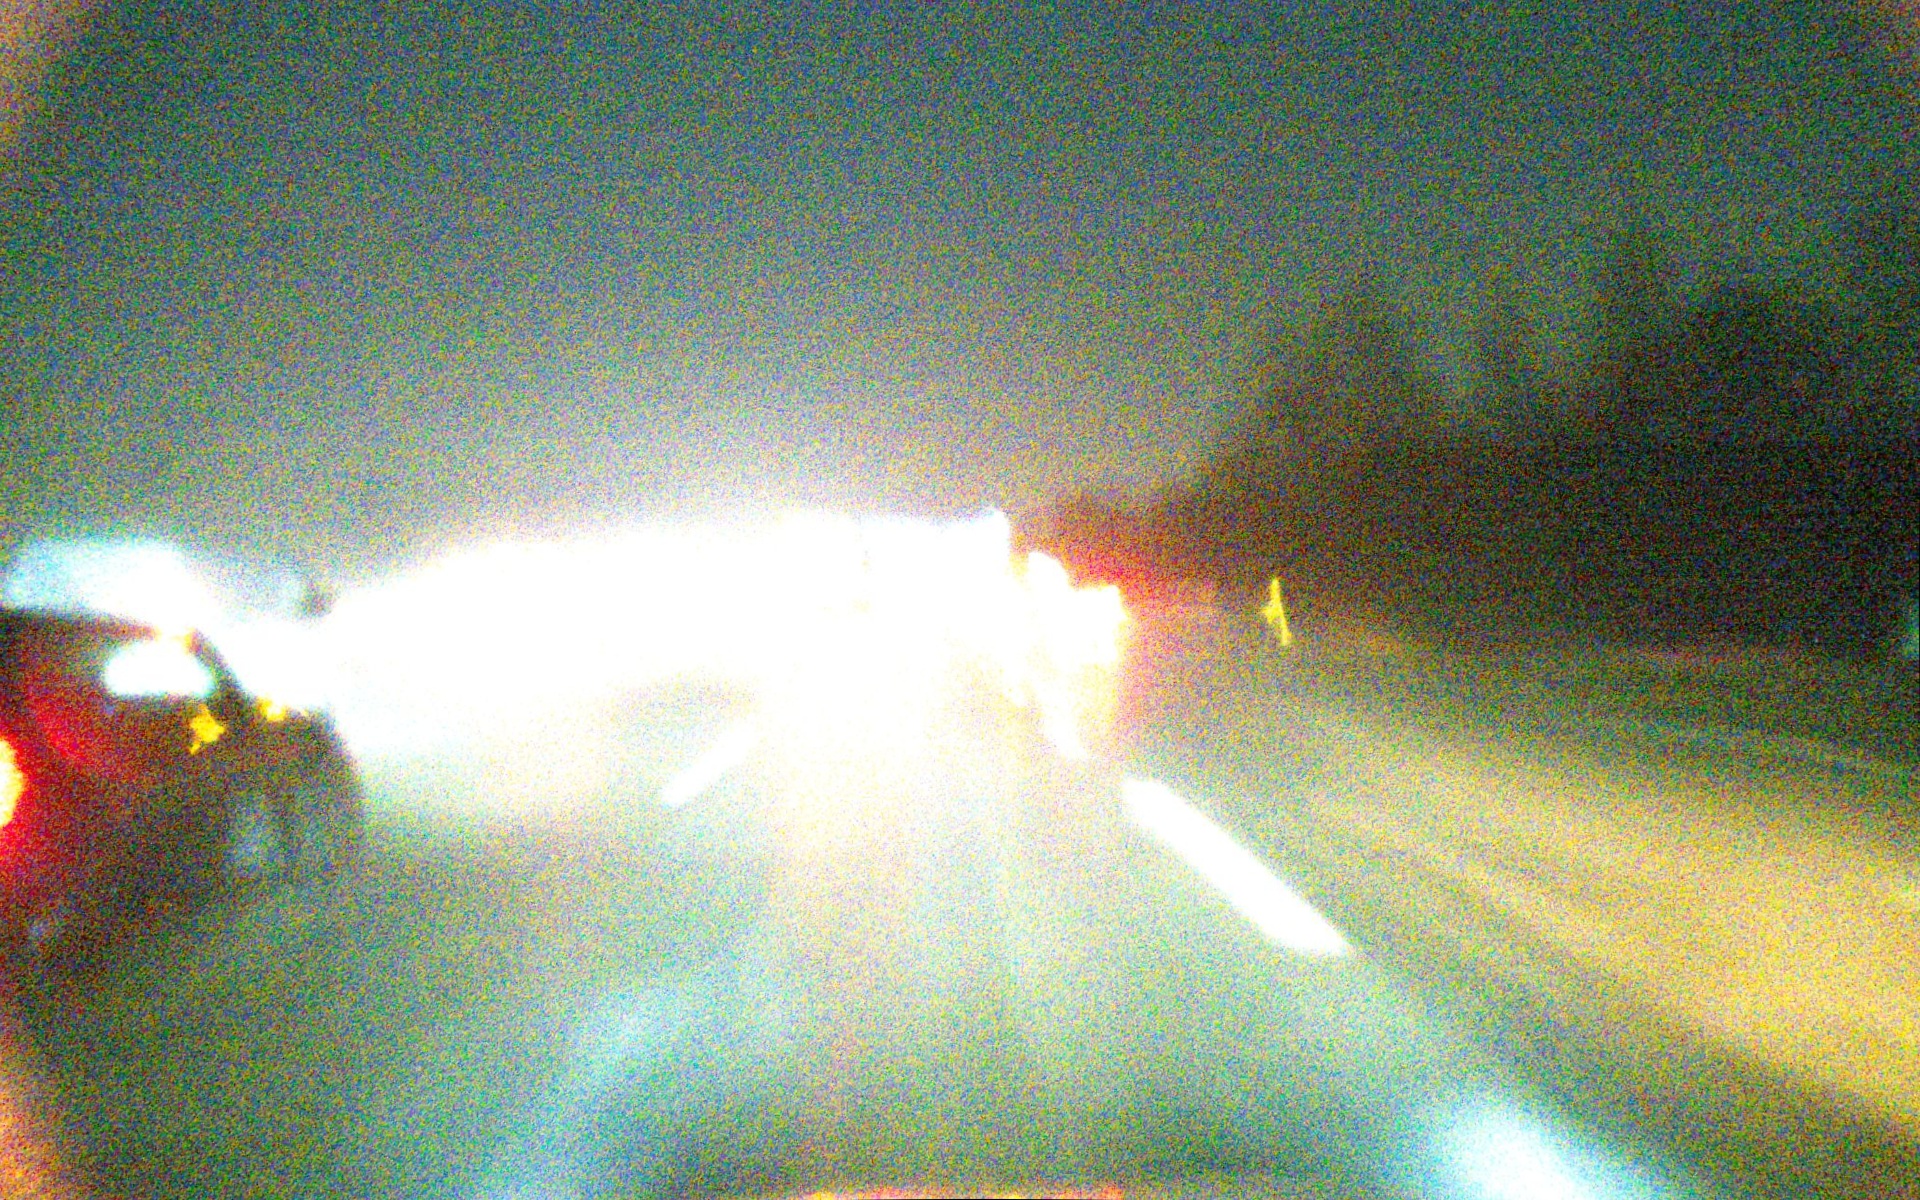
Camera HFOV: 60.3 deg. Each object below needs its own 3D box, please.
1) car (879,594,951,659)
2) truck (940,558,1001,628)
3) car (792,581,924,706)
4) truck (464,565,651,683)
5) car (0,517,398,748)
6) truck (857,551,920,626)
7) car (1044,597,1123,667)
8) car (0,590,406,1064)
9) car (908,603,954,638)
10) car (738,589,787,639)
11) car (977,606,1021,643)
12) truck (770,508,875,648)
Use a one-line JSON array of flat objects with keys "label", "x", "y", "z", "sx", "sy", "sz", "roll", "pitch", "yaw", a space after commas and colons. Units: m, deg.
[{"label": "car", "x": -1.290, "y": 0.754, "z": 48.782, "sx": 1.997, "sy": 1.792, "sz": 4.514, "roll": 1, "pitch": 0, "yaw": -1}, {"label": "truck", "x": 0.748, "y": -0.513, "z": 131.634, "sx": 4.079, "sy": 5.306, "sz": 9.946, "roll": 1, "pitch": 0, "yaw": -3}, {"label": "car", "x": -1.463, "y": 0.595, "z": 25.005, "sx": 1.729, "sy": 1.719, "sz": 4.000, "roll": 1, "pitch": 0, "yaw": 0}, {"label": "truck", "x": -8.347, "y": 0.487, "z": 35.031, "sx": 2.800, "sy": 2.239, "sz": 5.854, "roll": 1, "pitch": 0, "yaw": -4}, {"label": "car", "x": -8.249, "y": 0.305, "z": 18.330, "sx": 2.079, "sy": 2.141, "sz": 5.629, "roll": 1, "pitch": 0, "yaw": 0}, {"label": "truck", "x": -5.489, "y": -0.846, "z": 128.908, "sx": 4.166, "sy": 5.539, "sz": 10.884, "roll": 1, "pitch": 0, "yaw": 1}, {"label": "car", "x": 3.344, "y": 0.851, "z": 45.381, "sx": 1.839, "sy": 1.793, "sz": 4.000, "roll": 1, "pitch": 0, "yaw": 0}, {"label": "car", "x": -3.880, "y": 0.703, "z": 7.278, "sx": 1.623, "sy": 1.456, "sz": 4.244, "roll": 1, "pitch": 0, "yaw": -3}, {"label": "car", "x": -1.769, "y": 1.266, "z": 102.878, "sx": 2.775, "sy": 2.049, "sz": 5.509, "roll": 1, "pitch": 0, "yaw": 0}, {"label": "car", "x": -9.518, "y": 0.674, "z": 79.771, "sx": 2.221, "sy": 2.313, "sz": 5.377, "roll": 1, "pitch": 0, "yaw": -7}, {"label": "car", "x": 1.885, "y": 1.174, "z": 80.867, "sx": 1.953, "sy": 1.733, "sz": 4.457, "roll": 1, "pitch": 0, "yaw": -1}, {"label": "truck", "x": -5.224, "y": -0.731, "z": 62.761, "sx": 3.585, "sy": 4.820, "sz": 9.842, "roll": 1, "pitch": 0, "yaw": -5}]
